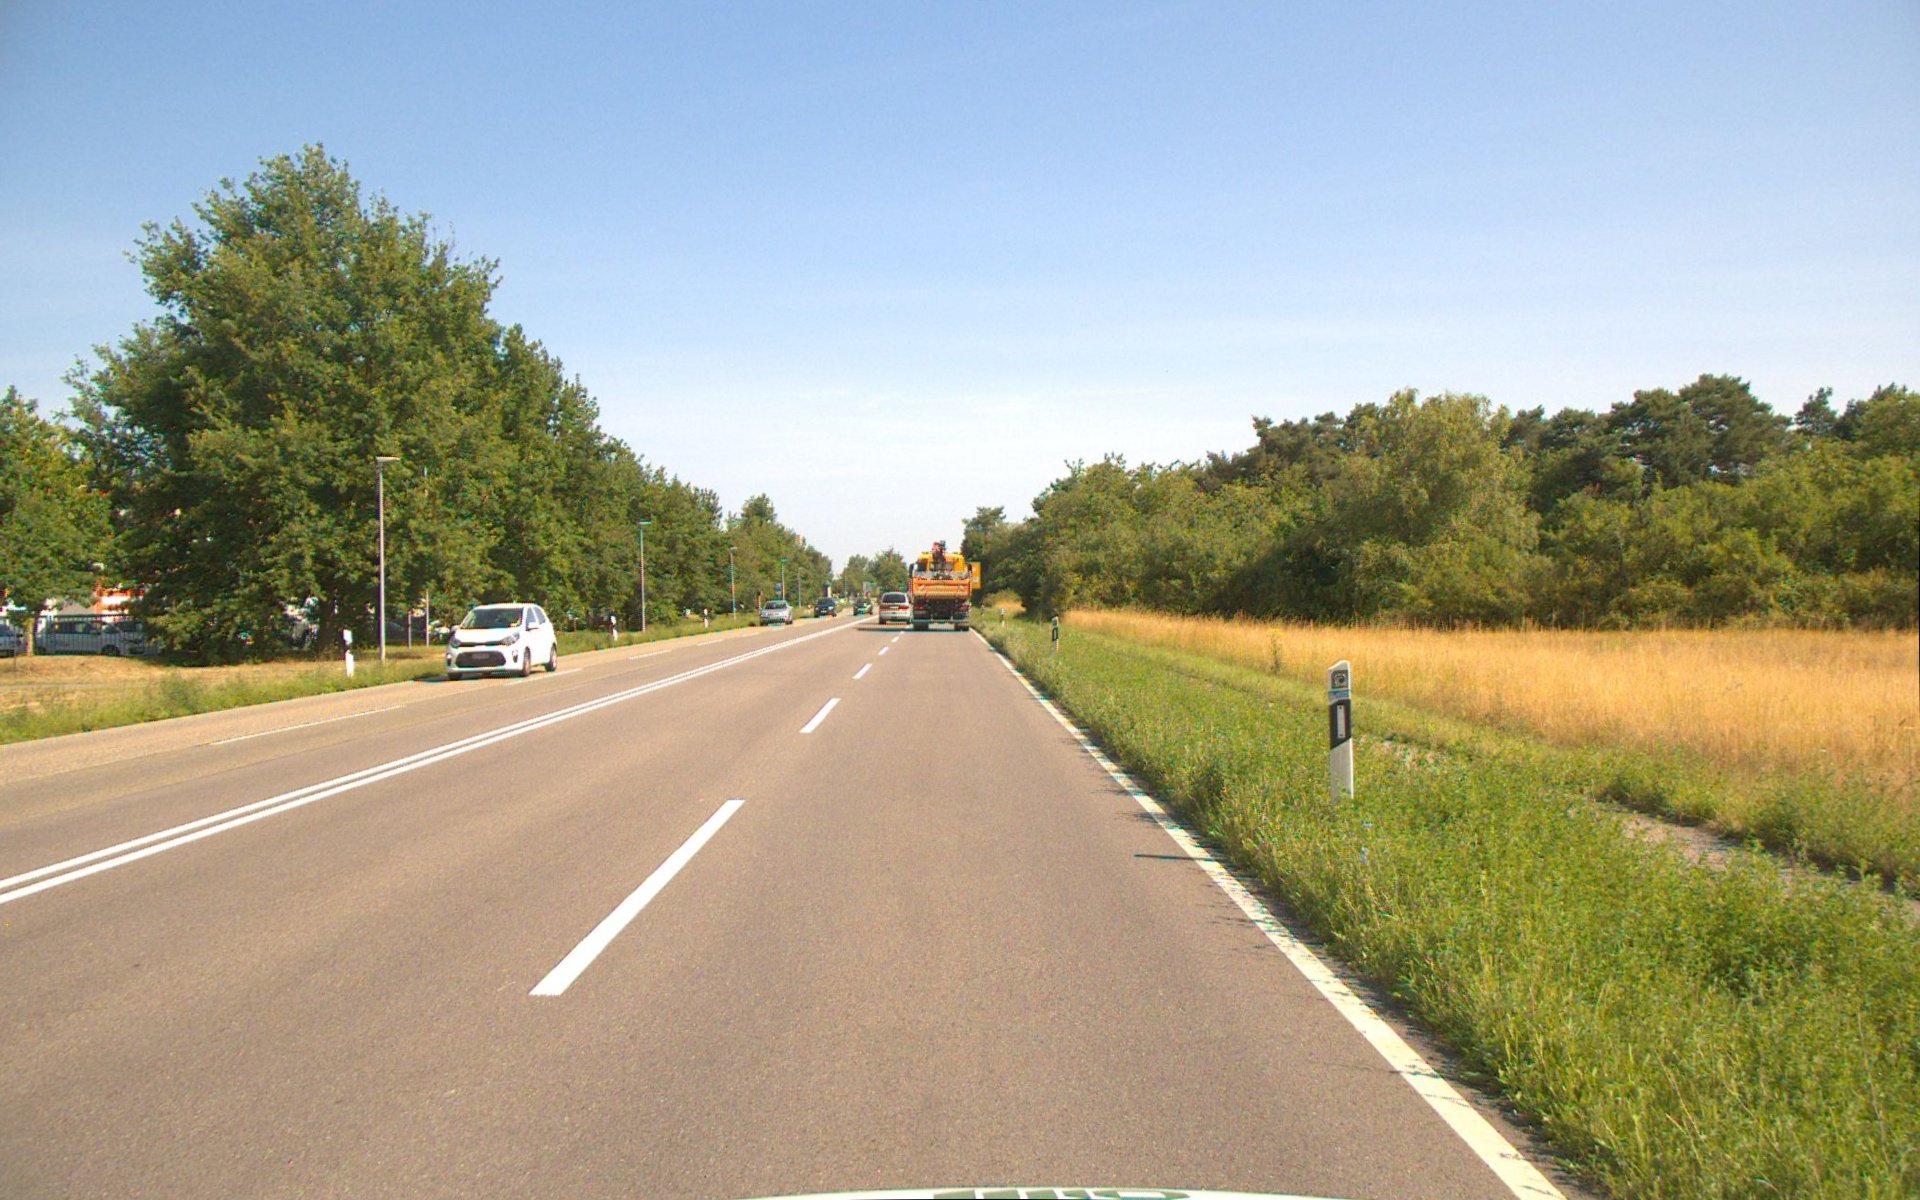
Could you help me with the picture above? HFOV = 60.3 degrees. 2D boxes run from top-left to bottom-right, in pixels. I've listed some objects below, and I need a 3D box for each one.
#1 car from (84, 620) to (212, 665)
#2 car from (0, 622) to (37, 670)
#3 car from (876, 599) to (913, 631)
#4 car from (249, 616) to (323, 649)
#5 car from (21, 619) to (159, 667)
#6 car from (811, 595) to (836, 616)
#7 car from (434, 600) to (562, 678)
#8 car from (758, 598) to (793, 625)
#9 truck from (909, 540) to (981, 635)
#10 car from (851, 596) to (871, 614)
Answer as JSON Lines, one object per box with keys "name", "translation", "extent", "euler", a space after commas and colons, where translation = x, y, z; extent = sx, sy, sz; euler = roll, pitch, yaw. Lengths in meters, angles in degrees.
{"name": "car", "translation": [-30.621, 1.585, 62.413], "extent": [3.906, 1.527, 1.757], "euler": [-2, 0, -1]}
{"name": "car", "translation": [-32.294, 1.527, 55.108], "extent": [1.727, 1.527, 3.935], "euler": [-2, 0, -44]}
{"name": "car", "translation": [-3.563, 0.788, 89.521], "extent": [1.954, 1.611, 3.998], "euler": [-1, 0, -3]}
{"name": "car", "translation": [-31.895, 1.517, 78.388], "extent": [1.752, 1.373, 4.660], "euler": [-2, 0, -3]}
{"name": "car", "translation": [-30.643, 1.492, 58.319], "extent": [3.906, 1.527, 1.757], "euler": [-2, 0, -1]}
{"name": "car", "translation": [-11.621, 0.448, 141.150], "extent": [1.789, 1.701, 4.388], "euler": [-3, 0, -2]}
{"name": "car", "translation": [-9.585, 0.769, 34.599], "extent": [1.625, 1.462, 3.734], "euler": [-3, 0, -1]}
{"name": "car", "translation": [-10.855, 0.689, 97.503], "extent": [1.566, 1.467, 3.999], "euler": [-3, 0, -1]}
{"name": "truck", "translation": [-0.743, -0.537, 72.943], "extent": [2.815, 3.948, 7.395], "euler": [1, 0, -3]}
{"name": "car", "translation": [-8.555, 0.405, 142.818], "extent": [1.486, 1.475, 3.774], "euler": [-3, 0, -1]}
